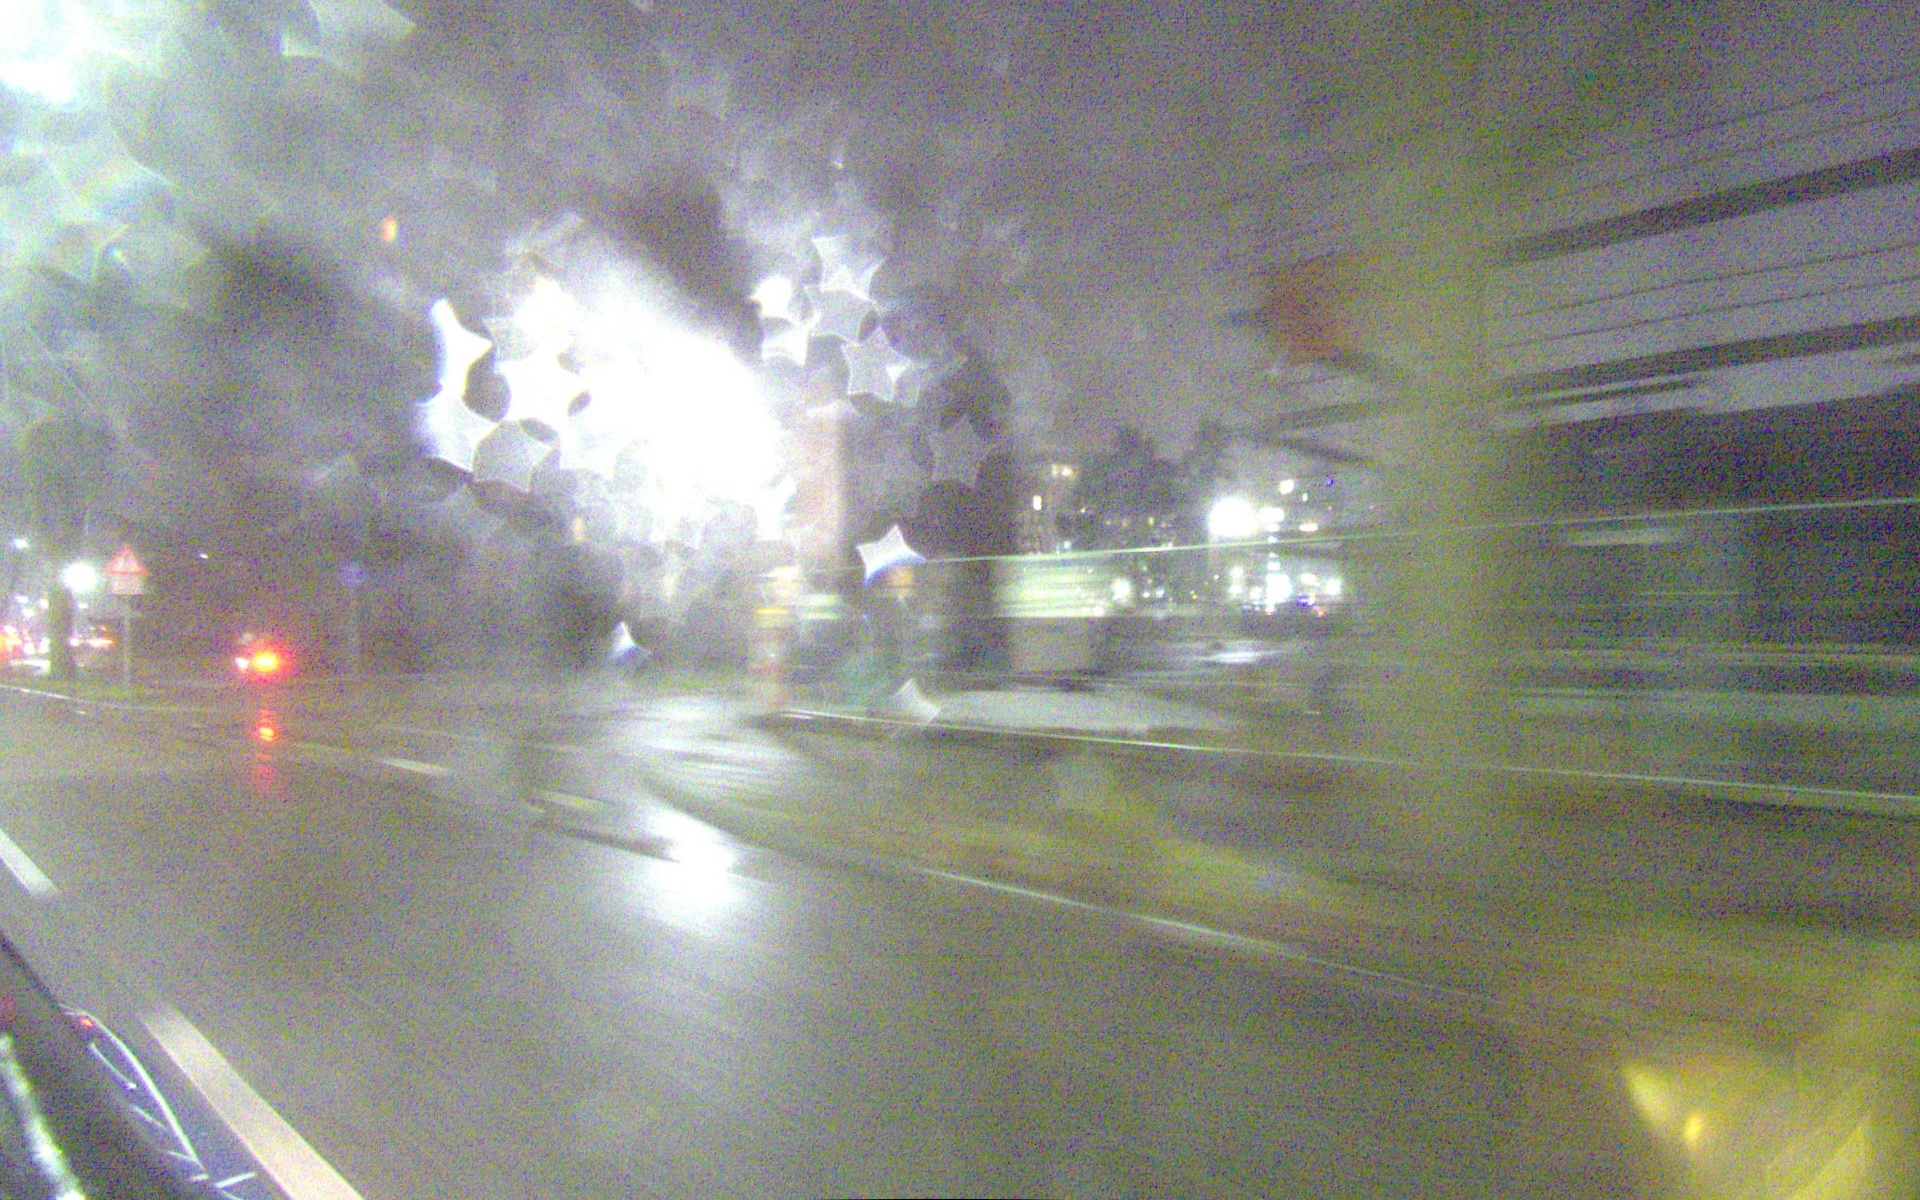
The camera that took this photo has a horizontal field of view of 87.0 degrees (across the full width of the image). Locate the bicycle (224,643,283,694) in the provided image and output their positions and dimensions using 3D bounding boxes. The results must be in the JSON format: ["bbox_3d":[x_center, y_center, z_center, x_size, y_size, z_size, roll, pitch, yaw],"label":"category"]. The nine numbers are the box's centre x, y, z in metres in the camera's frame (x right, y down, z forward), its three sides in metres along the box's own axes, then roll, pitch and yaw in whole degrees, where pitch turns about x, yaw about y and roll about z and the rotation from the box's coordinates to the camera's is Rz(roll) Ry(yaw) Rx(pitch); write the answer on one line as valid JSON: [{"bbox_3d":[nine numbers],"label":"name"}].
[{"bbox_3d":[-17.432,1.668,24.945,2.312,1.169,0.623,-2,-1,40],"label":"bicycle"}]

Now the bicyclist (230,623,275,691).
[{"bbox_3d":[-17.473,1.412,24.994,0.959,1.607,0.630,-5,-3,40],"label":"bicyclist"}]

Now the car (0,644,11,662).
[{"bbox_3d":[-85.934,4.670,90.000,1.969,1.466,4.309,5,-5,-41],"label":"car"}]

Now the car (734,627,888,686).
[{"bbox_3d":[-4.004,1.486,27.613,4.028,1.381,1.495,1,1,-44],"label":"car"}]

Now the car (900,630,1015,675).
[{"bbox_3d":[-0.041,1.620,32.192,1.494,1.268,3.814,1,0,41],"label":"car"}]
